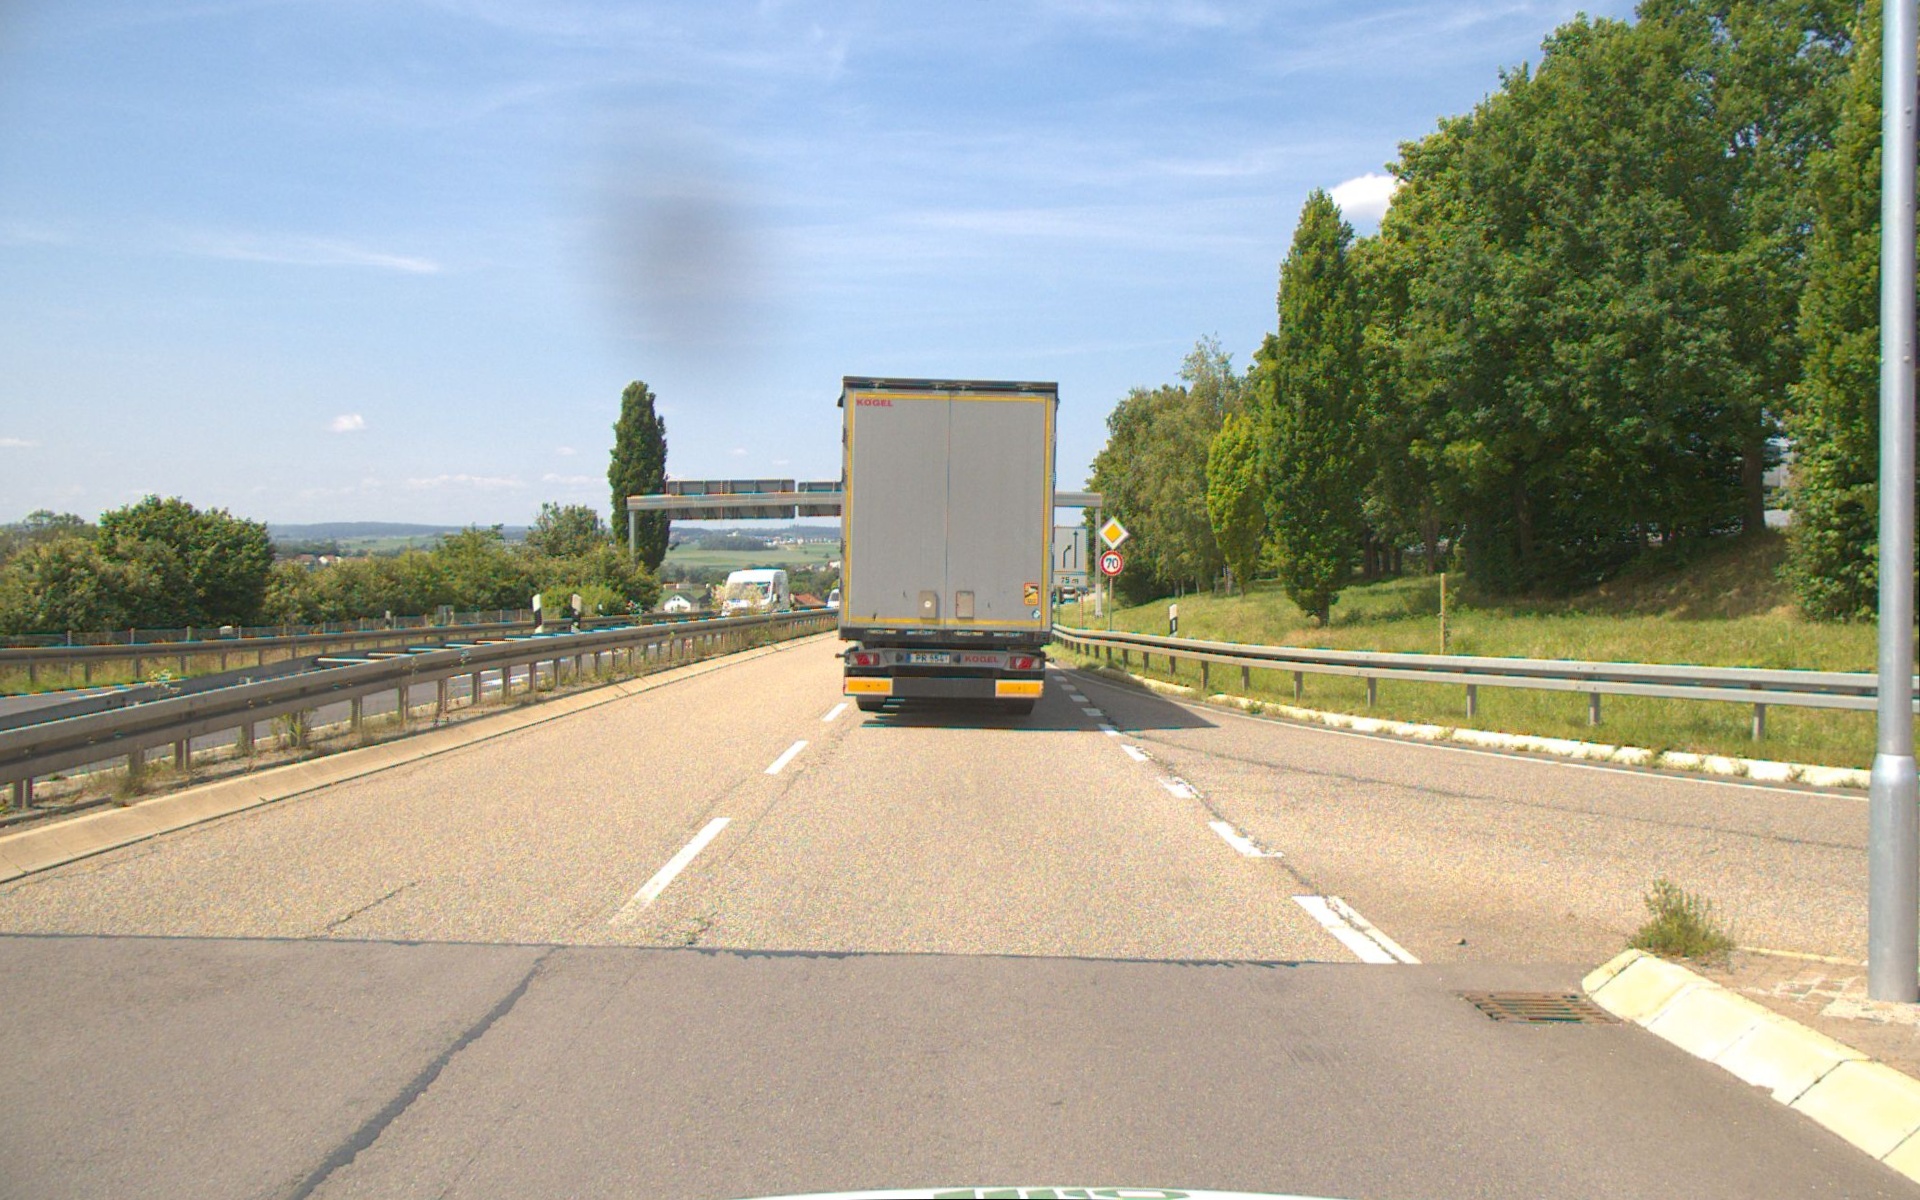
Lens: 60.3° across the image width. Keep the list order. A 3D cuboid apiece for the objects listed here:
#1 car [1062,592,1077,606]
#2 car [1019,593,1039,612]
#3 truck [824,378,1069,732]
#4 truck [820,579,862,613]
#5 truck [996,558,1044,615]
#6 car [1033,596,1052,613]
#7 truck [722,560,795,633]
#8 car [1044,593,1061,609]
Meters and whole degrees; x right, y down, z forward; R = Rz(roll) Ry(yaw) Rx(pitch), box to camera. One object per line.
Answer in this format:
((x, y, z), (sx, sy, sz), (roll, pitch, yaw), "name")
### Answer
((13.489, -0.140, 203.955), (1.749, 1.717, 4.001), (1, -1, 2), "car")
((6.425, 0.276, 154.281), (1.749, 1.717, 4.001), (1, -1, 2), "car")
((-0.279, -0.550, 24.542), (2.742, 3.998, 11.338), (1, 0, -1), "truck")
((-6.677, -0.201, 93.149), (1.811, 1.779, 4.538), (-2, -1, 2), "truck")
((4.373, -0.896, 118.137), (2.599, 3.830, 10.169), (1, -1, 7), "truck")
((8.326, 0.479, 167.073), (1.749, 1.717, 4.001), (1, -1, 2), "car")
((-7.839, -0.147, 64.855), (1.998, 2.666, 6.020), (-2, 0, 0), "truck")
((10.284, 0.123, 184.858), (1.749, 1.717, 4.001), (1, -1, 2), "car")
